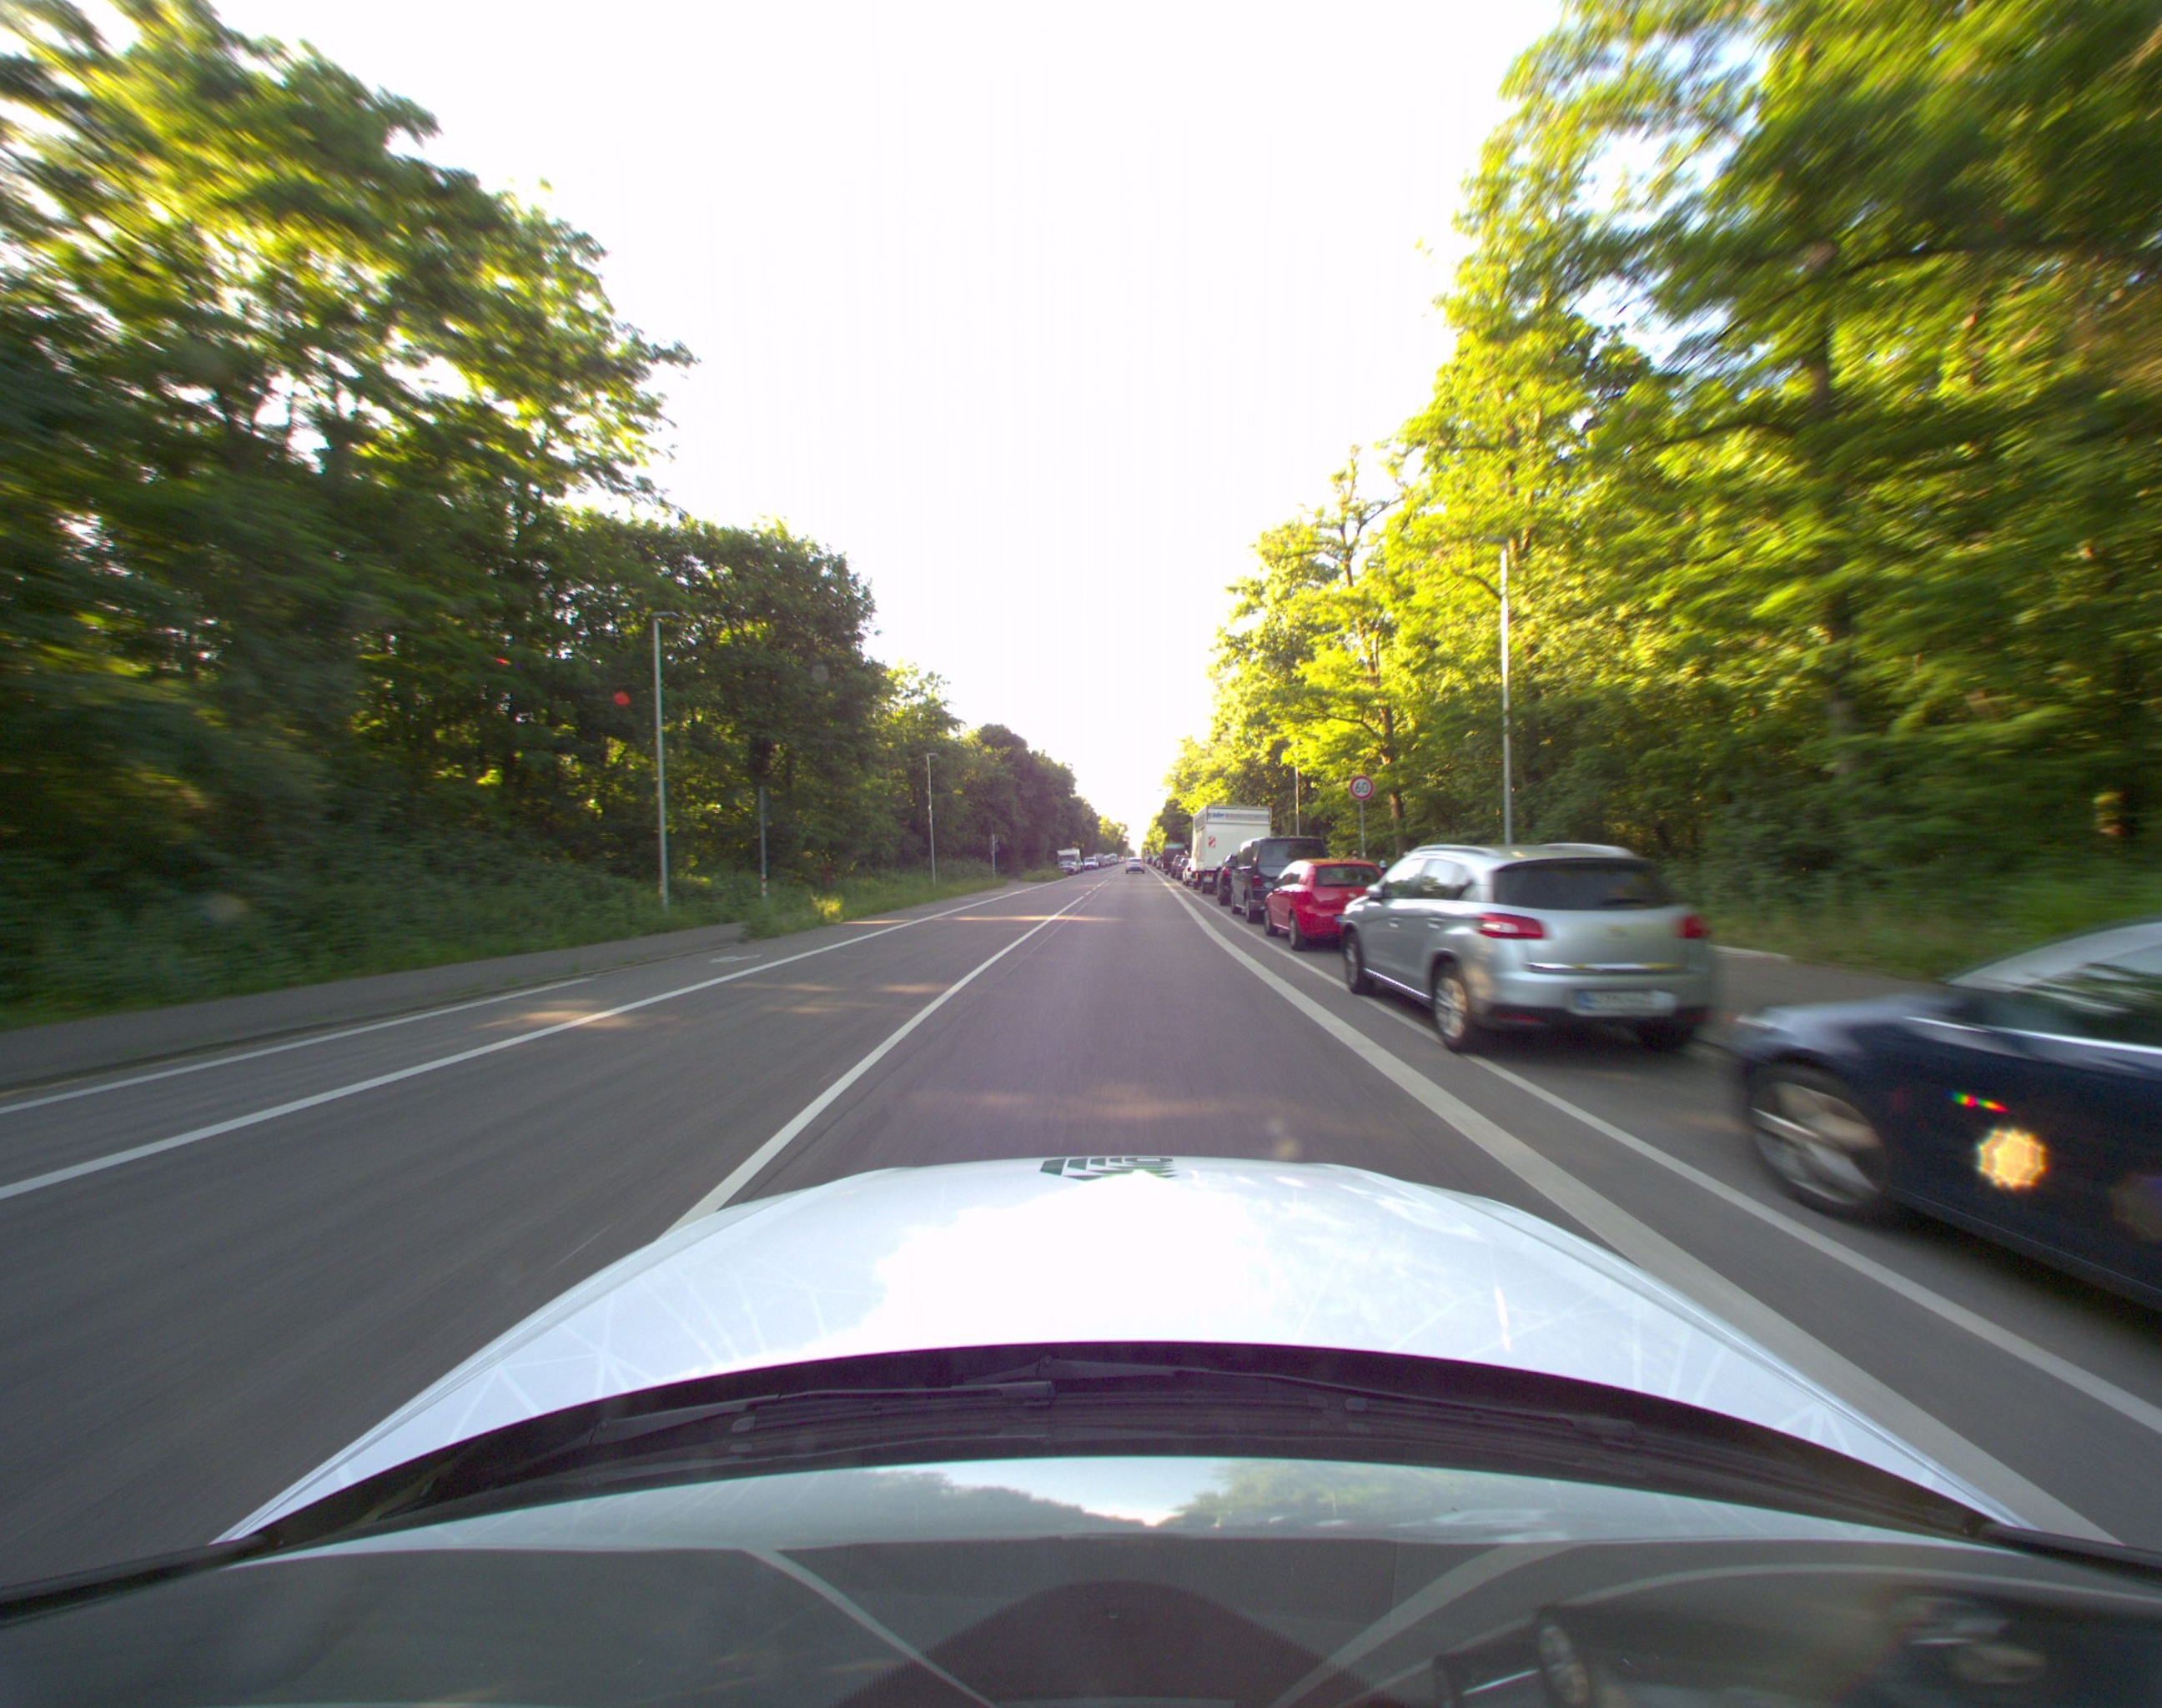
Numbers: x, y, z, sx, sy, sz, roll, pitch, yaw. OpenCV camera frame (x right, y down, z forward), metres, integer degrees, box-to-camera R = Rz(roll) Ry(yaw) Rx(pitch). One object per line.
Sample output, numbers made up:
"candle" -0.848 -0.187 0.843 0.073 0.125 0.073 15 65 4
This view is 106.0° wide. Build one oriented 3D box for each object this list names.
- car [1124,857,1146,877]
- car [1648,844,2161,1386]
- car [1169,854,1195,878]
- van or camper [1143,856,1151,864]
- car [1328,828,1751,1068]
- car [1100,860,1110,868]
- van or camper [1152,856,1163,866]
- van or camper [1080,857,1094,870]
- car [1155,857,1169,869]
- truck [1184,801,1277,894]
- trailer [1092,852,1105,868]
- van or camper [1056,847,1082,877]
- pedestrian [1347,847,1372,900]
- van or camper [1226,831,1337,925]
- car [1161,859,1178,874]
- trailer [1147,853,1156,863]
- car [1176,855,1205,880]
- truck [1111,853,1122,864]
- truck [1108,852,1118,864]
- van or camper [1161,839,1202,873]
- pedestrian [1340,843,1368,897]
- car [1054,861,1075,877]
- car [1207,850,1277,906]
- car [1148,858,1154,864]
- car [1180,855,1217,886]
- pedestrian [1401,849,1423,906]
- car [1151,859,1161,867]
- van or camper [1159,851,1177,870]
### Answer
"car" 5.199 1.223 78.443 2.019 1.840 4.034 -2 0 4
"car" 3.937 0.740 2.190 1.800 1.519 4.506 1 0 2
"car" 7.354 0.816 59.548 1.703 1.665 4.558 1 0 5
"van or camper" 17.022 1.571 209.075 1.984 1.932 5.205 0 0 4
"car" 3.753 0.654 7.603 1.791 1.595 4.031 -2 0 3
"car" 5.120 2.076 172.218 1.724 1.478 4.329 -3 -1 4
"van or camper" 14.649 1.395 155.527 1.942 1.815 4.385 -1 0 4
"van or camper" 0.904 1.424 122.850 1.828 1.911 4.860 -3 -1 3
"car" 11.453 1.298 115.582 1.740 1.515 4.002 -3 -1 2
"truck" 6.287 -0.238 35.538 2.820 3.497 8.585 -2 0 3
"trailer" 3.169 1.109 145.895 1.984 2.597 4.421 -4 -1 4
"van or camper" -1.298 0.889 88.784 2.306 2.970 7.114 -4 -1 2
"pedestrian" 8.456 0.593 24.752 0.561 1.588 0.482 -2 -1 3
"van or camper" 4.780 0.529 20.089 1.889 2.013 4.592 -2 0 4
"car" 9.459 1.335 87.270 1.703 1.545 4.028 1 0 5
"trailer" 22.003 1.220 253.662 2.745 2.870 6.596 -2 -1 4
"car" 7.263 0.887 54.183 1.703 1.568 4.558 1 0 5
"truck" 10.440 1.198 238.632 2.695 3.093 7.998 -1 -1 4
"truck" 9.836 1.241 250.044 2.695 3.347 10.936 -1 -1 4
"van or camper" 9.024 0.183 72.598 2.421 2.800 6.586 -2 0 17
"pedestrian" 9.225 0.523 27.496 0.615 1.764 0.907 -2 -1 3
"car" -1.587 1.490 81.472 1.821 1.476 4.682 -3 0 1
"car" 5.213 0.741 26.841 1.790 1.657 4.034 -2 0 4
"car" 19.948 2.074 231.688 1.832 1.662 4.005 -1 -1 5
"car" 6.331 0.871 44.131 1.704 1.568 4.004 1 0 4
"pedestrian" 9.345 0.656 23.017 0.392 1.588 0.482 -2 -1 3
"car" 13.659 1.611 148.997 1.682 1.524 4.154 0 0 4
"van or camper" 11.639 0.864 108.983 2.026 2.312 6.046 -2 0 3
